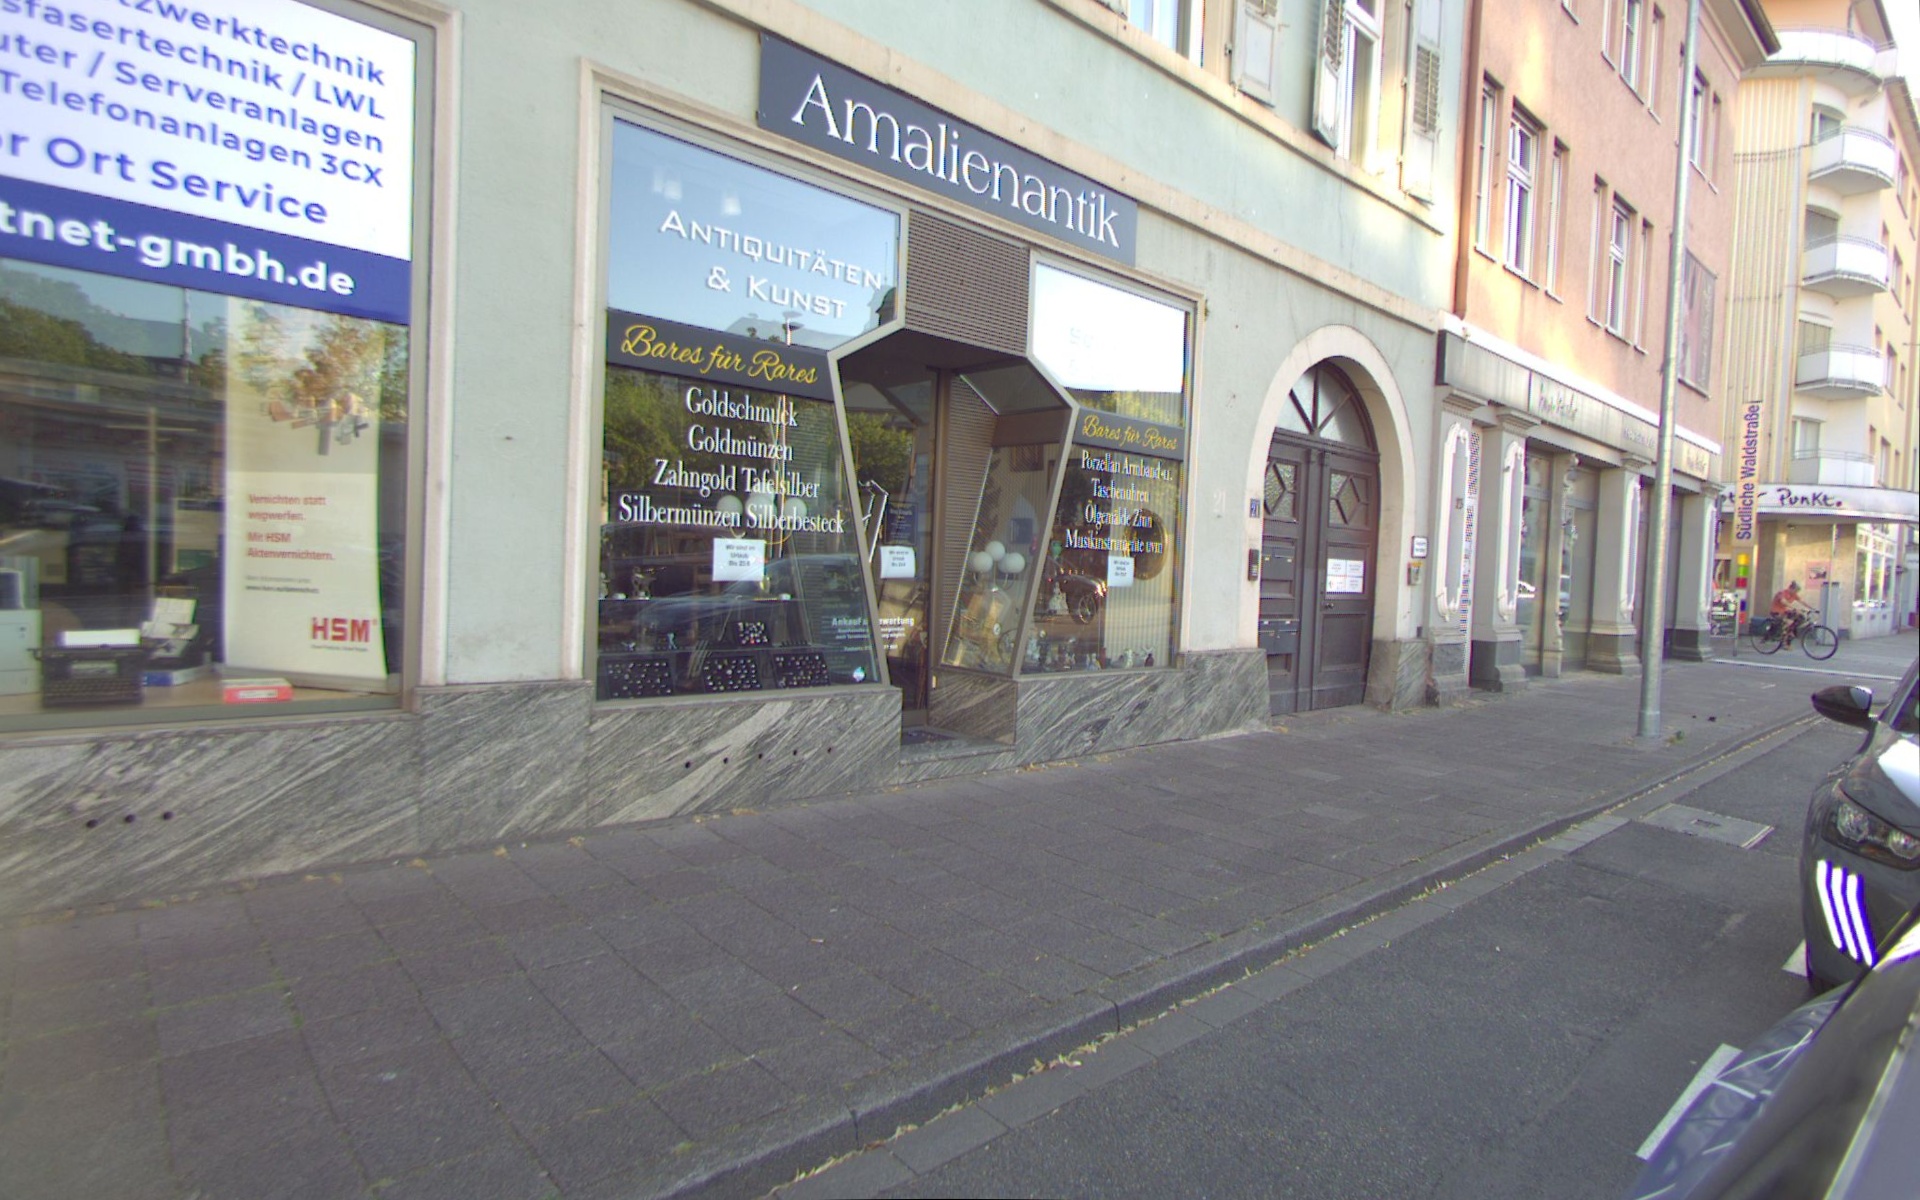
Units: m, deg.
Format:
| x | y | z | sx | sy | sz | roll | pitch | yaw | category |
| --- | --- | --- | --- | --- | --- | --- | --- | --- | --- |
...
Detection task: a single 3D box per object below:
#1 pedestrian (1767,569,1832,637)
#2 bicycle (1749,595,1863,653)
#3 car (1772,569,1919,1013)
| x | y | z | sx | sy | sz | roll | pitch | yaw | category |
| --- | --- | --- | --- | --- | --- | --- | --- | --- | --- |
| 17.617 | 0.050 | 21.255 | 0.551 | 1.367 | 0.860 | 1 | 2 | -31 | pedestrian |
| 17.653 | 0.481 | 21.155 | 0.551 | 1.070 | 1.707 | 1 | 3 | -30 | bicycle |
| 5.017 | 0.690 | 4.170 | 3.835 | 1.460 | 1.752 | 0 | 4 | -39 | car |
